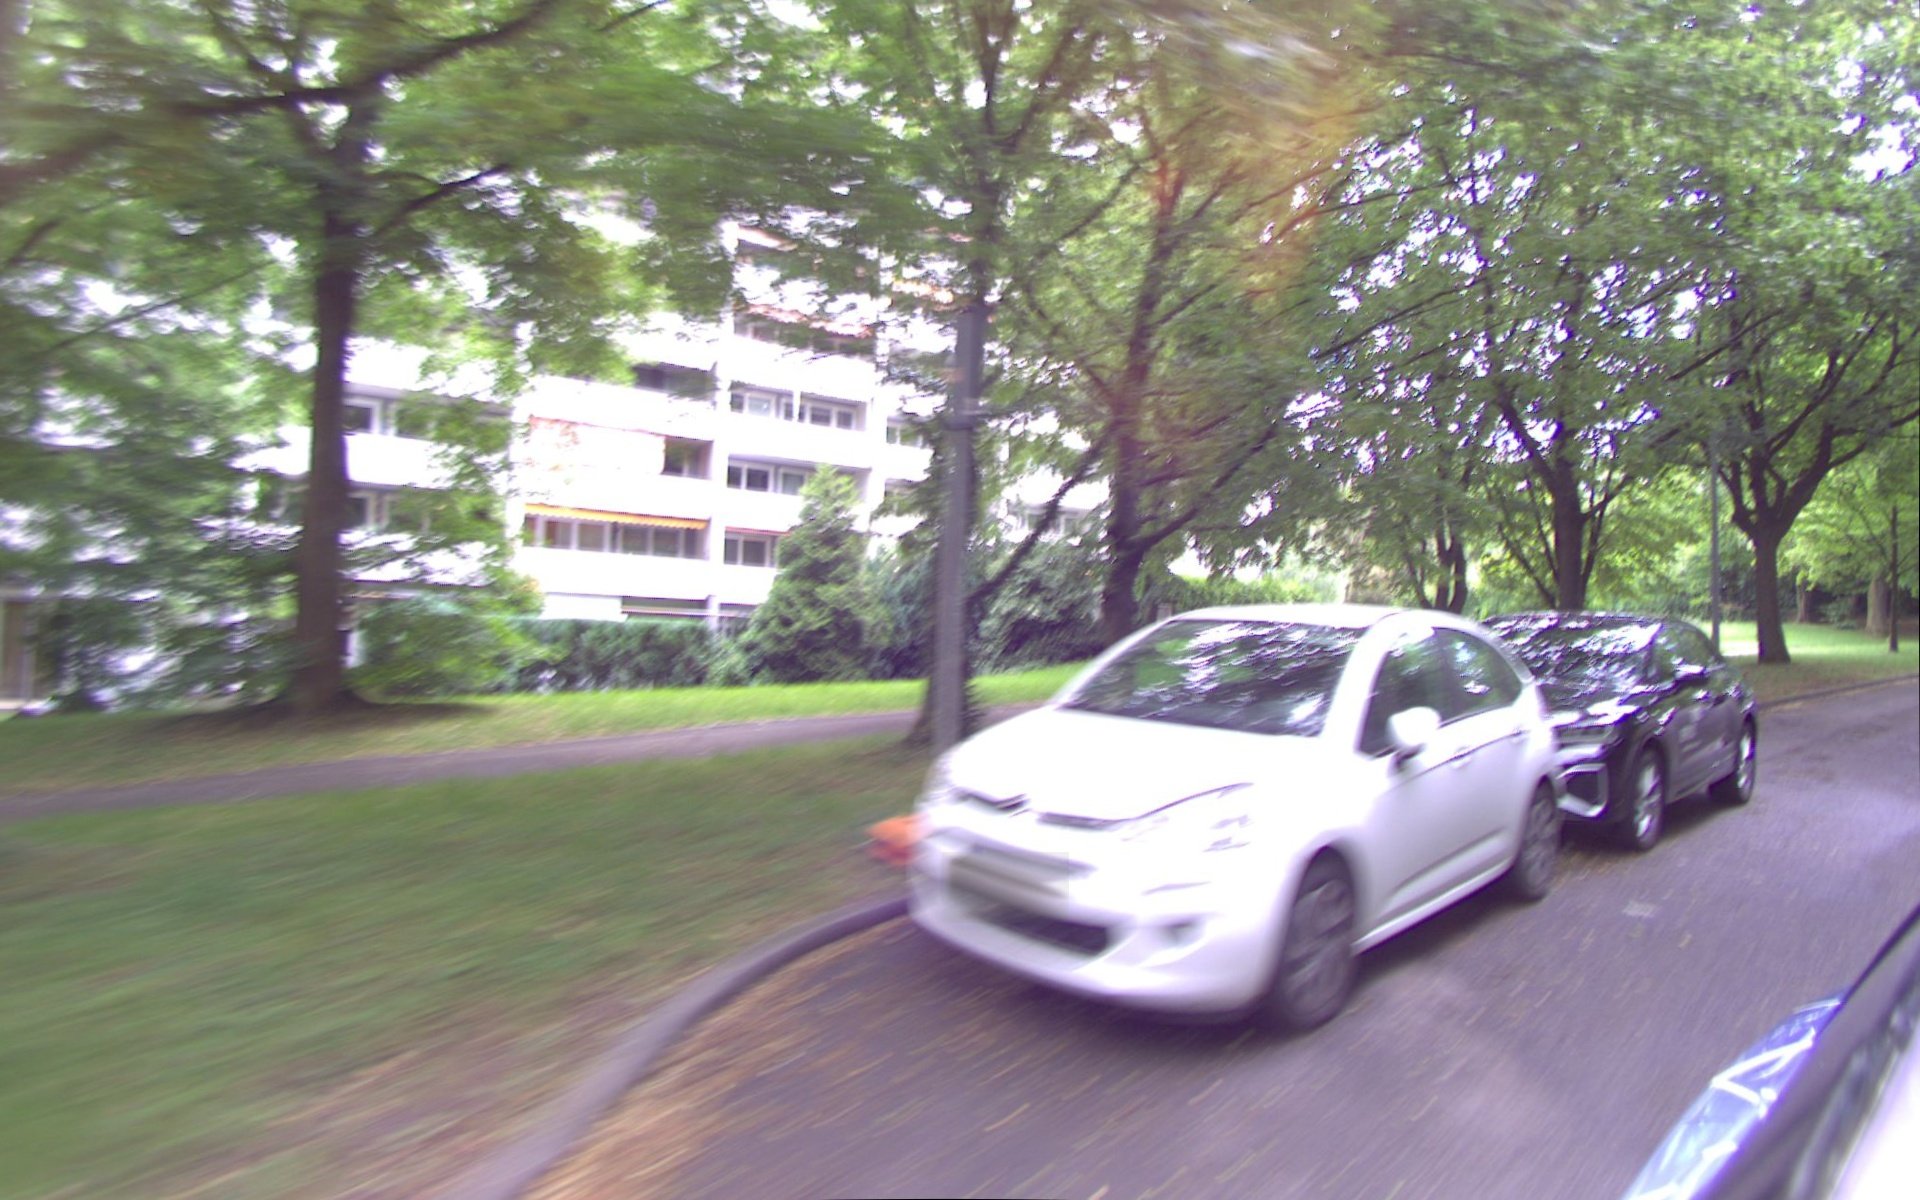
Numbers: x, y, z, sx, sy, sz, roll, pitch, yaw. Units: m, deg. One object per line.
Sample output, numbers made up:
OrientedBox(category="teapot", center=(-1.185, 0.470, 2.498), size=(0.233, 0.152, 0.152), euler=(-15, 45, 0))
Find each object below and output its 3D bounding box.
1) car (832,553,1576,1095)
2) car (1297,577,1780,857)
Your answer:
OrientedBox(category="car", center=(1.407, 0.659, 4.845), size=(3.718, 1.542, 1.775), euler=(1, -1, -44))
OrientedBox(category="car", center=(4.476, 0.667, 7.582), size=(4.107, 1.542, 1.777), euler=(0, -1, -39))
